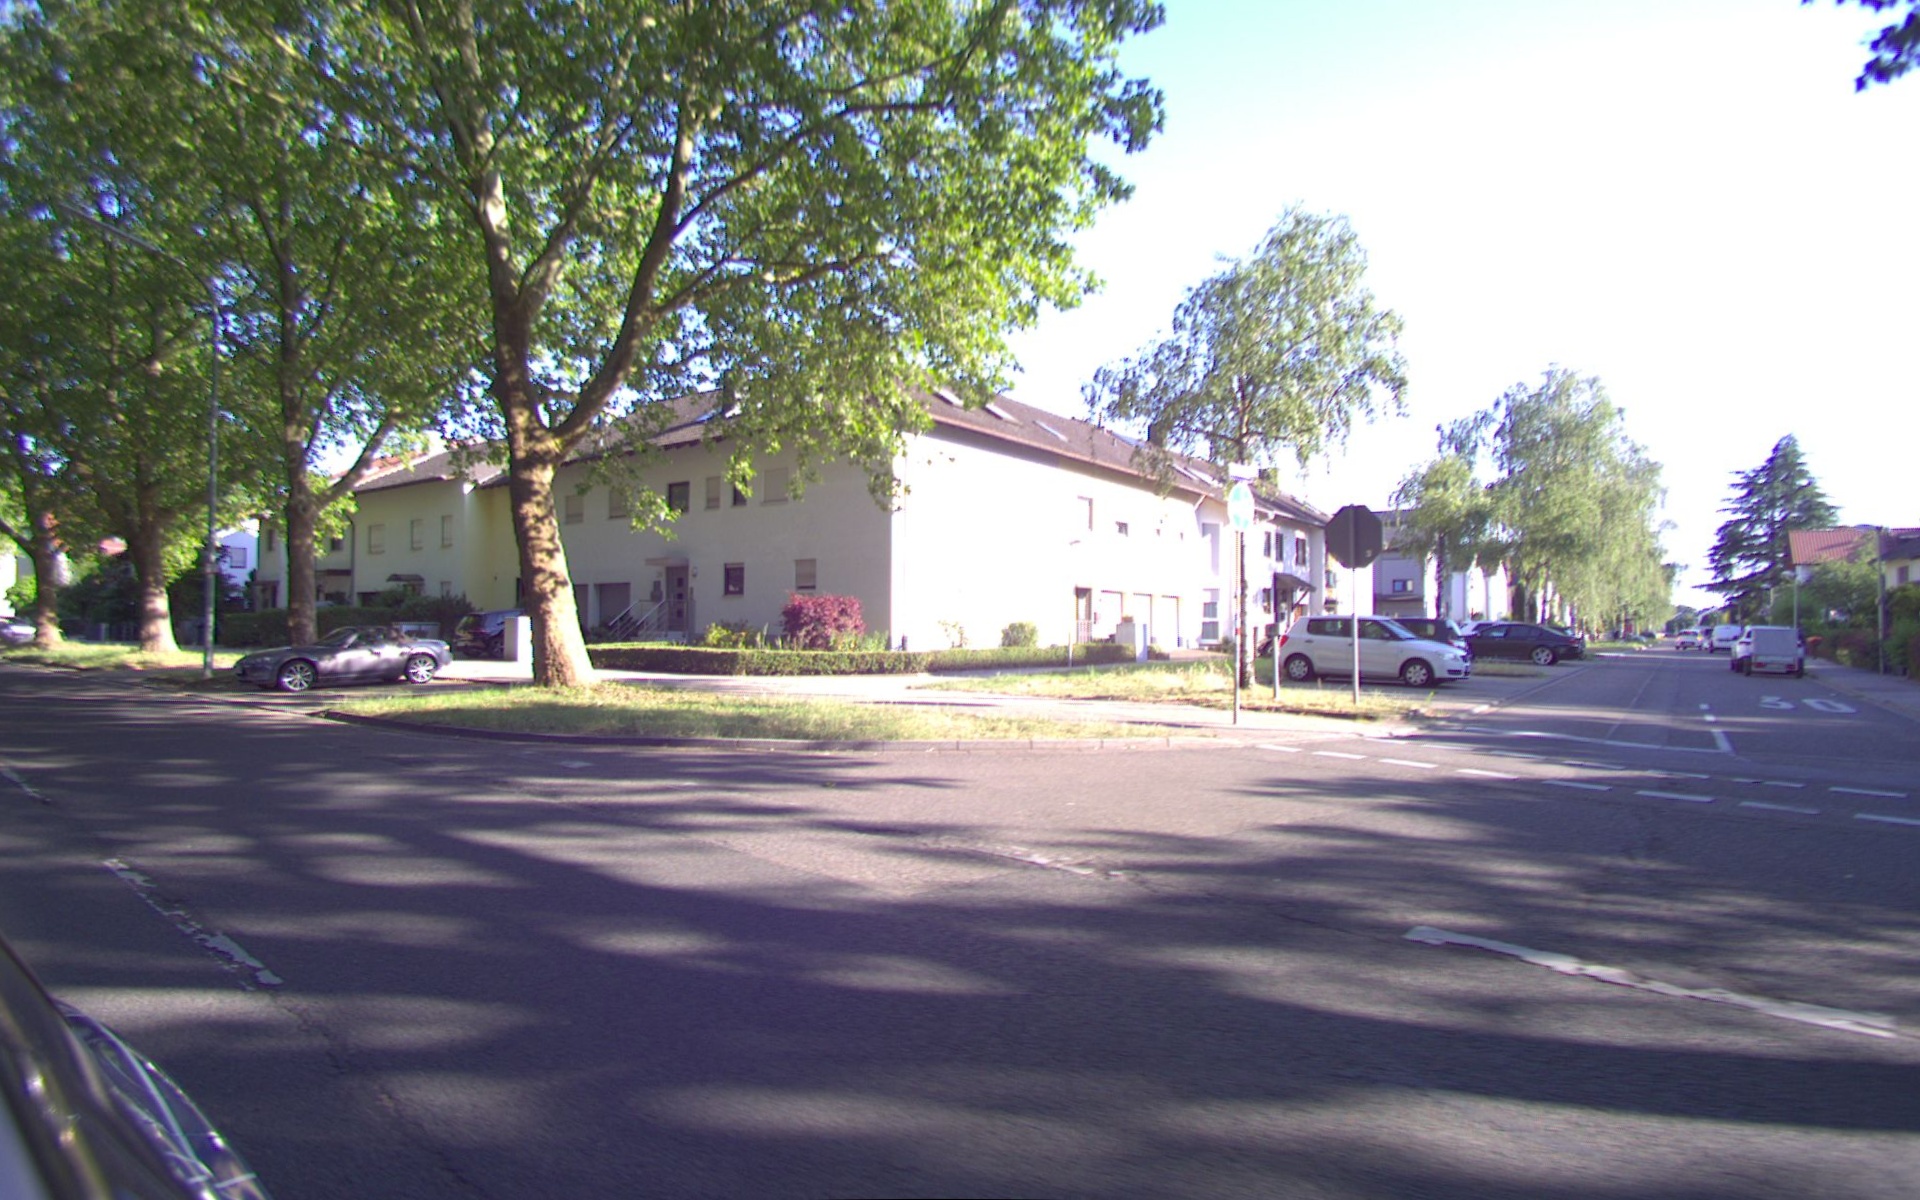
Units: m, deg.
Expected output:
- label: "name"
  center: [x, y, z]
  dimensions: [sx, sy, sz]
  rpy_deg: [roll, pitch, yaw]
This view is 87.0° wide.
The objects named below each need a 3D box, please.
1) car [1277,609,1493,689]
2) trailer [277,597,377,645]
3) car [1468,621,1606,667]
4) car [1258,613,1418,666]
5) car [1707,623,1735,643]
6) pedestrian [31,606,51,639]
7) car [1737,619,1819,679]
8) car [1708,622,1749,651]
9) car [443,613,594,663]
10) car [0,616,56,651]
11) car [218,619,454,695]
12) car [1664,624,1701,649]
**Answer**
- label: "car"
  center: [9.226, 1.002, 22.092]
  dimensions: [3.993, 1.587, 1.975]
  rpy_deg: [-1, -1, 37]
- label: "trailer"
  center: [-28.968, 0.932, 46.395]
  dimensions: [1.640, 1.940, 3.423]
  rpy_deg: [-3, 1, 36]
- label: "car"
  center: [20.145, 1.499, 35.373]
  dimensions: [3.992, 1.497, 1.976]
  rpy_deg: [-1, -1, 36]
- label: "car"
  center: [12.026, 1.200, 32.311]
  dimensions: [4.456, 1.587, 1.975]
  rpy_deg: [-1, -1, 37]
- label: "car"
  center: [69.322, 2.982, 92.194]
  dimensions: [1.997, 1.752, 3.949]
  rpy_deg: [-1, -1, 37]
- label: "pedestrian"
  center: [-48.652, 1.170, 53.591]
  dimensions: [1.064, 1.729, 0.611]
  rpy_deg: [-1, -1, 38]
- label: "car"
  center: [25.900, 1.489, 32.103]
  dimensions: [1.902, 1.752, 3.948]
  rpy_deg: [-1, -2, 39]
- label: "car"
  center: [49.425, 2.317, 65.084]
  dimensions: [1.998, 1.752, 3.948]
  rpy_deg: [-1, -2, 39]
- label: "car"
  center: [-13.864, 1.168, 31.941]
  dimensions: [1.899, 1.475, 3.947]
  rpy_deg: [0, -1, 39]
- label: "car"
  center: [-42.936, 1.469, 44.897]
  dimensions: [1.814, 1.530, 3.952]
  rpy_deg: [-1, -1, 36]
- label: "car"
  center: [-12.844, 1.107, 21.009]
  dimensions: [1.787, 1.326, 3.789]
  rpy_deg: [-1, 0, 38]
- label: "car"
  center: [53.740, 2.689, 75.244]
  dimensions: [1.998, 1.752, 3.948]
  rpy_deg: [-1, -2, 39]
